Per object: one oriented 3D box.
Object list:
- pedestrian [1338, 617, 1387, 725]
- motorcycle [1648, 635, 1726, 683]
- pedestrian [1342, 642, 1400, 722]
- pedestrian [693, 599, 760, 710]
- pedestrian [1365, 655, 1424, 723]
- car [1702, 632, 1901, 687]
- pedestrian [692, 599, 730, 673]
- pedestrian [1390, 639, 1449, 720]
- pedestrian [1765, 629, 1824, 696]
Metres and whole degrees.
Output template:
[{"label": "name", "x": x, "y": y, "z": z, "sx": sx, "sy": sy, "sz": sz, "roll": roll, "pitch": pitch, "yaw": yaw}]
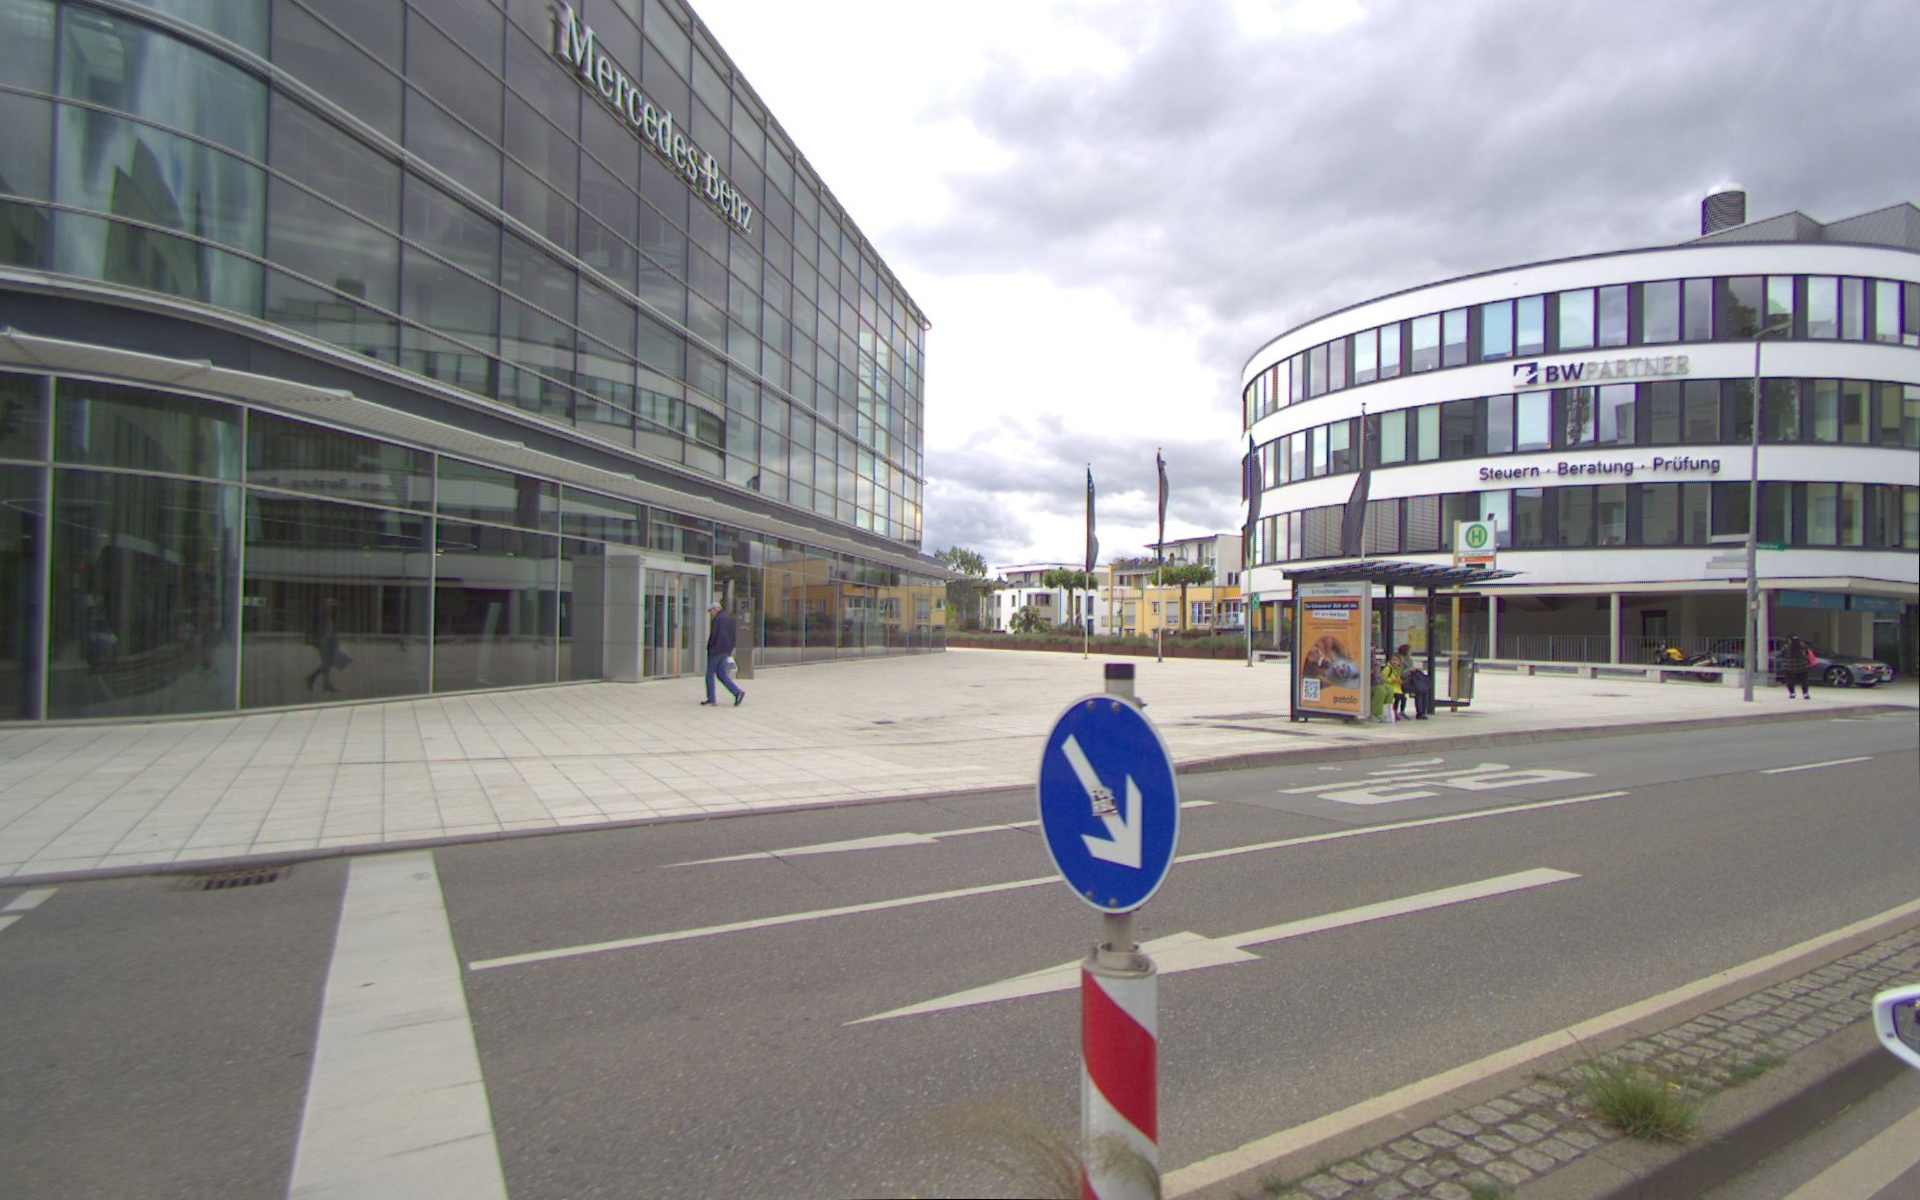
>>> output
[{"label": "pedestrian", "x": 6.340, "y": 1.105, "z": 15.850, "sx": 0.673, "sy": 1.652, "sz": 0.576, "roll": -1, "pitch": -2, "yaw": 19}, {"label": "motorcycle", "x": 22.553, "y": 1.819, "z": 31.197, "sx": 0.628, "sy": 1.351, "sz": 1.848, "roll": 1, "pitch": 0, "yaw": -26}, {"label": "pedestrian", "x": 6.714, "y": 1.325, "z": 16.424, "sx": 0.570, "sy": 1.270, "sz": 0.681, "roll": 1, "pitch": -2, "yaw": -32}, {"label": "pedestrian", "x": -4.262, "y": 0.978, "z": 18.382, "sx": 0.885, "sy": 1.971, "sz": 0.750, "roll": 1, "pitch": 0, "yaw": 21}, {"label": "pedestrian", "x": 7.238, "y": 1.463, "z": 16.726, "sx": 0.570, "sy": 1.089, "sz": 0.681, "roll": 1, "pitch": -3, "yaw": -32}, {"label": "car", "x": 26.480, "y": 1.828, "z": 31.802, "sx": 1.877, "sy": 1.434, "sz": 4.442, "roll": 2, "pitch": 0, "yaw": -25}, {"label": "pedestrian", "x": -6.857, "y": 0.979, "z": 27.626, "sx": 0.745, "sy": 1.971, "sz": 0.678, "roll": 2, "pitch": 0, "yaw": -43}, {"label": "pedestrian", "x": 7.806, "y": 1.334, "z": 17.072, "sx": 0.570, "sy": 1.337, "sz": 0.681, "roll": 1, "pitch": -3, "yaw": -32}, {"label": "pedestrian", "x": 20.454, "y": 1.524, "z": 24.619, "sx": 0.802, "sy": 1.588, "sz": 0.827, "roll": 1, "pitch": 0, "yaw": -25}]
